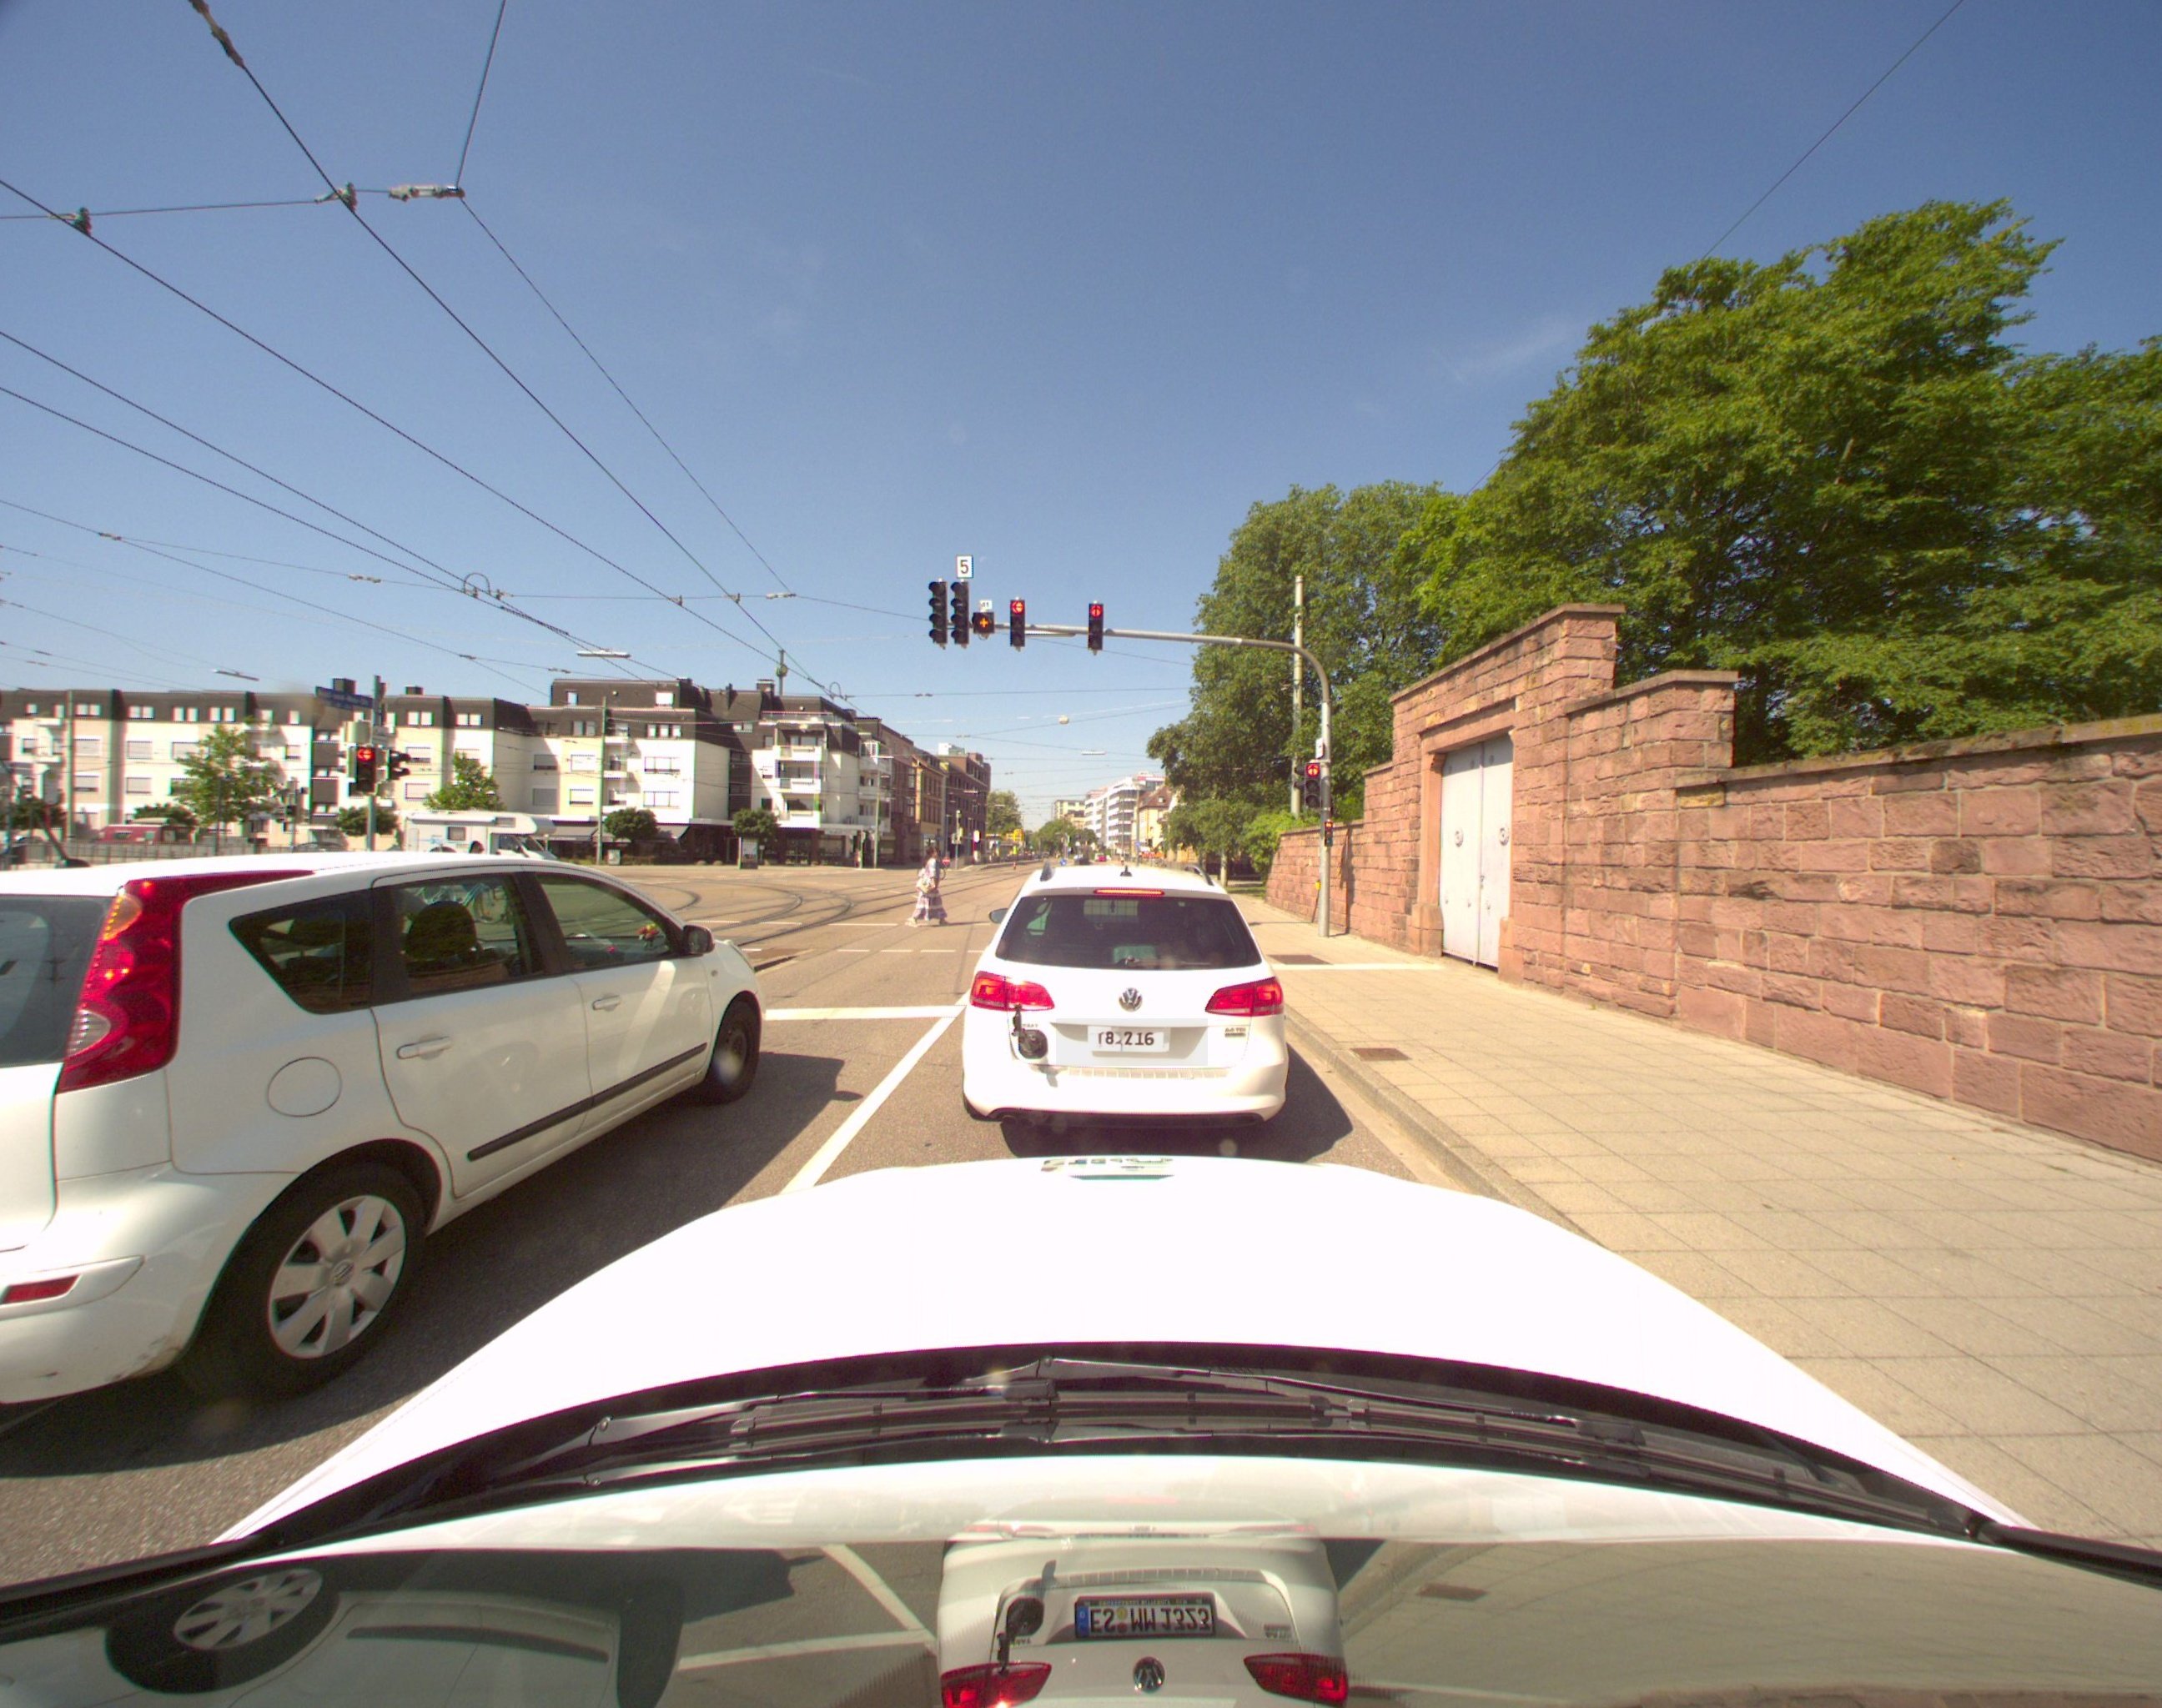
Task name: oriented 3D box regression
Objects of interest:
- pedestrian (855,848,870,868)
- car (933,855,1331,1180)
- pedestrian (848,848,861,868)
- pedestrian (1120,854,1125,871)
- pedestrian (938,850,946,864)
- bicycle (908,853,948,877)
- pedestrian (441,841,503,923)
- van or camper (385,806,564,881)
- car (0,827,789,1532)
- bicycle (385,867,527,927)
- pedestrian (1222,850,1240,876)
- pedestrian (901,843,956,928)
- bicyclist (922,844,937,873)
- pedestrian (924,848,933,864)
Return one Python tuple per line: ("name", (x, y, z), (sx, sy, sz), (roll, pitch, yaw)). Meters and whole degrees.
("pedestrian", (-19.386, 0.380, 72.208), (0.853, 1.743, 0.981), (-2, -2, 43))
("car", (0.288, 0.744, 5.704), (1.801, 1.448, 4.001), (0, 0, 1))
("pedestrian", (-20.230, 0.339, 72.796), (0.978, 1.743, 0.856), (0, -1, -30))
("pedestrian", (5.538, 1.124, 108.391), (0.687, 2.325, 1.233), (-1, -1, 3))
("pedestrian", (-17.127, 0.349, 100.081), (0.860, 1.743, 0.973), (-1, -1, -4))
("bicycle", (-8.604, 0.614, 45.874), (2.261, 1.297, 0.553), (0, -2, -41))
("pedestrian", (-11.997, 0.535, 16.057), (0.746, 1.571, 0.672), (-1, 0, -13))
("van or camper", (-26.223, -0.446, 35.514), (5.693, 3.093, 2.562), (-1, -1, -15))
("car", (-2.893, 0.706, 3.715), (1.636, 1.566, 3.805), (-1, 1, 1))
("bicycle", (-11.897, 0.803, 15.568), (2.021, 1.090, 0.707), (1, 0, -13))
("pedestrian", (10.458, 0.621, 56.762), (0.962, 1.743, 0.869), (-2, -1, 28))
("pedestrian", (-3.112, 0.622, 16.580), (0.975, 1.651, 0.950), (0, -1, -19))
("bicyclist", (-8.548, 0.231, 45.939), (0.641, 1.613, 0.556), (0, -2, -41))
("pedestrian", (-17.569, 0.249, 94.008), (0.860, 1.743, 0.973), (-1, -1, -4))
